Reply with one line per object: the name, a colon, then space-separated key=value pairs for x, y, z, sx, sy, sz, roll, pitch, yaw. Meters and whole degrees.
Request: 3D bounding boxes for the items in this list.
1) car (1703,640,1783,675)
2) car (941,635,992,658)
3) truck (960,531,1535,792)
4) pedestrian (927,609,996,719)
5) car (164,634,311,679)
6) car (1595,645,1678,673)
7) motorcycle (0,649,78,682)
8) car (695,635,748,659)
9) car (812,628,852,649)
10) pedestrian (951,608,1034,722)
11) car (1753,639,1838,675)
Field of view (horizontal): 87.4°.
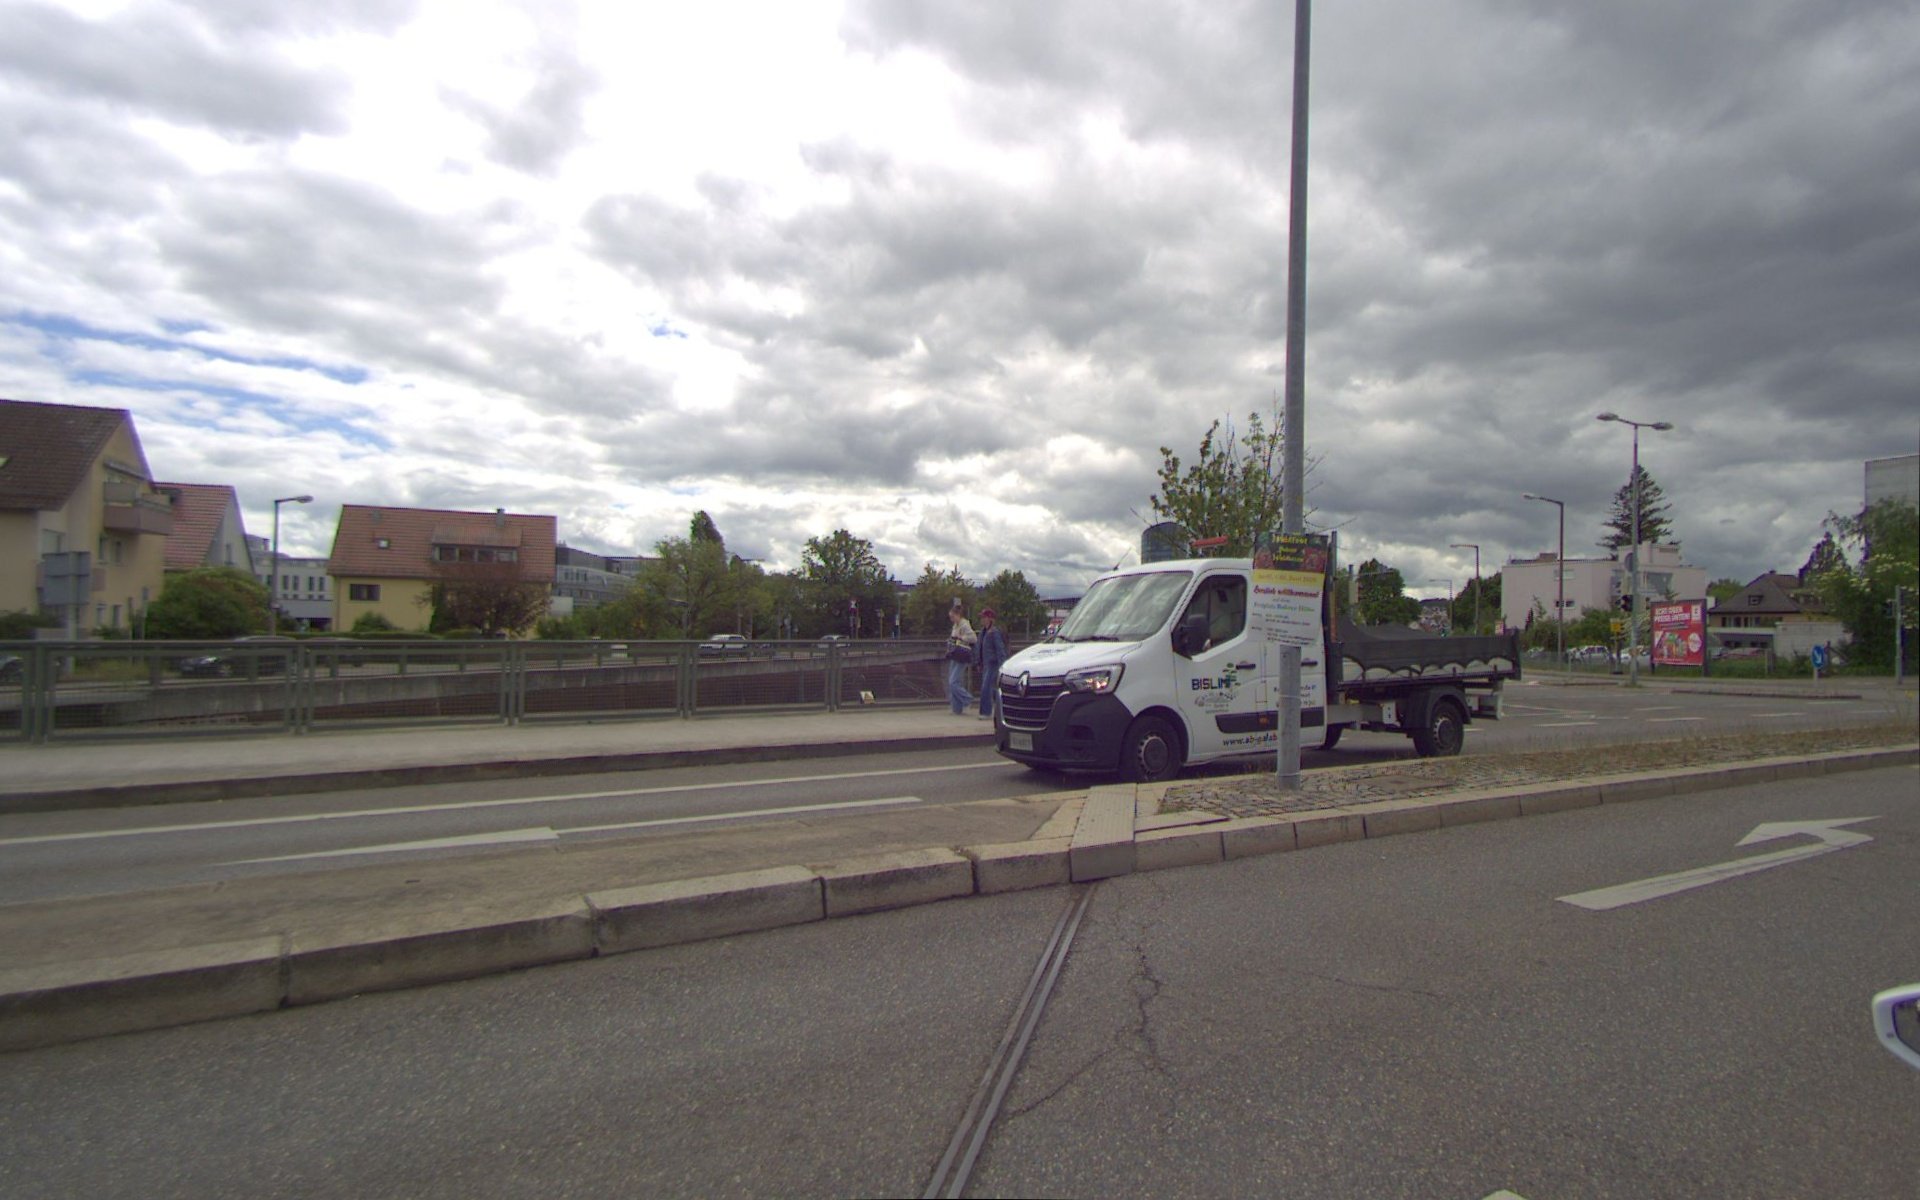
car: x=50.502 y=3.718 z=64.802 sx=3.931 sy=2.040 sz=1.995 roll=2 pitch=1 yaw=-13
car: x=0.563 y=4.006 z=86.606 sx=3.922 sy=1.684 sz=1.798 roll=2 pitch=1 yaw=21
truck: x=3.443 y=0.658 z=11.375 sx=6.721 sy=2.294 sz=2.117 roll=2 pitch=-2 yaw=-28
pedestrian: x=0.025 y=0.978 z=15.723 sx=0.826 sy=1.655 sz=0.651 roll=2 pitch=-1 yaw=-38
car: x=-28.098 y=2.148 z=39.230 sx=1.960 sy=1.628 sz=4.379 roll=0 pitch=-2 yaw=15
car: x=40.775 y=3.547 z=60.551 sx=3.925 sy=1.574 sz=1.800 roll=1 pitch=-2 yaw=-7
motorcycle: x=-30.169 y=2.138 z=32.650 sx=2.085 sy=1.012 sz=0.701 roll=1 pitch=-6 yaw=-14
car: x=-17.078 y=3.374 z=72.115 sx=1.862 sy=1.628 sz=4.379 roll=0 pitch=-2 yaw=15
car: x=-12.109 y=3.597 z=94.919 sx=1.723 sy=1.685 sz=3.949 roll=1 pitch=2 yaw=-42
pedestrian: x=0.493 y=0.964 z=15.179 sx=1.061 sy=1.655 sz=0.651 roll=2 pitch=-1 yaw=-39
car: x=51.221 y=3.473 z=61.583 sx=3.931 sy=2.040 sz=1.995 roll=2 pitch=1 yaw=-13
